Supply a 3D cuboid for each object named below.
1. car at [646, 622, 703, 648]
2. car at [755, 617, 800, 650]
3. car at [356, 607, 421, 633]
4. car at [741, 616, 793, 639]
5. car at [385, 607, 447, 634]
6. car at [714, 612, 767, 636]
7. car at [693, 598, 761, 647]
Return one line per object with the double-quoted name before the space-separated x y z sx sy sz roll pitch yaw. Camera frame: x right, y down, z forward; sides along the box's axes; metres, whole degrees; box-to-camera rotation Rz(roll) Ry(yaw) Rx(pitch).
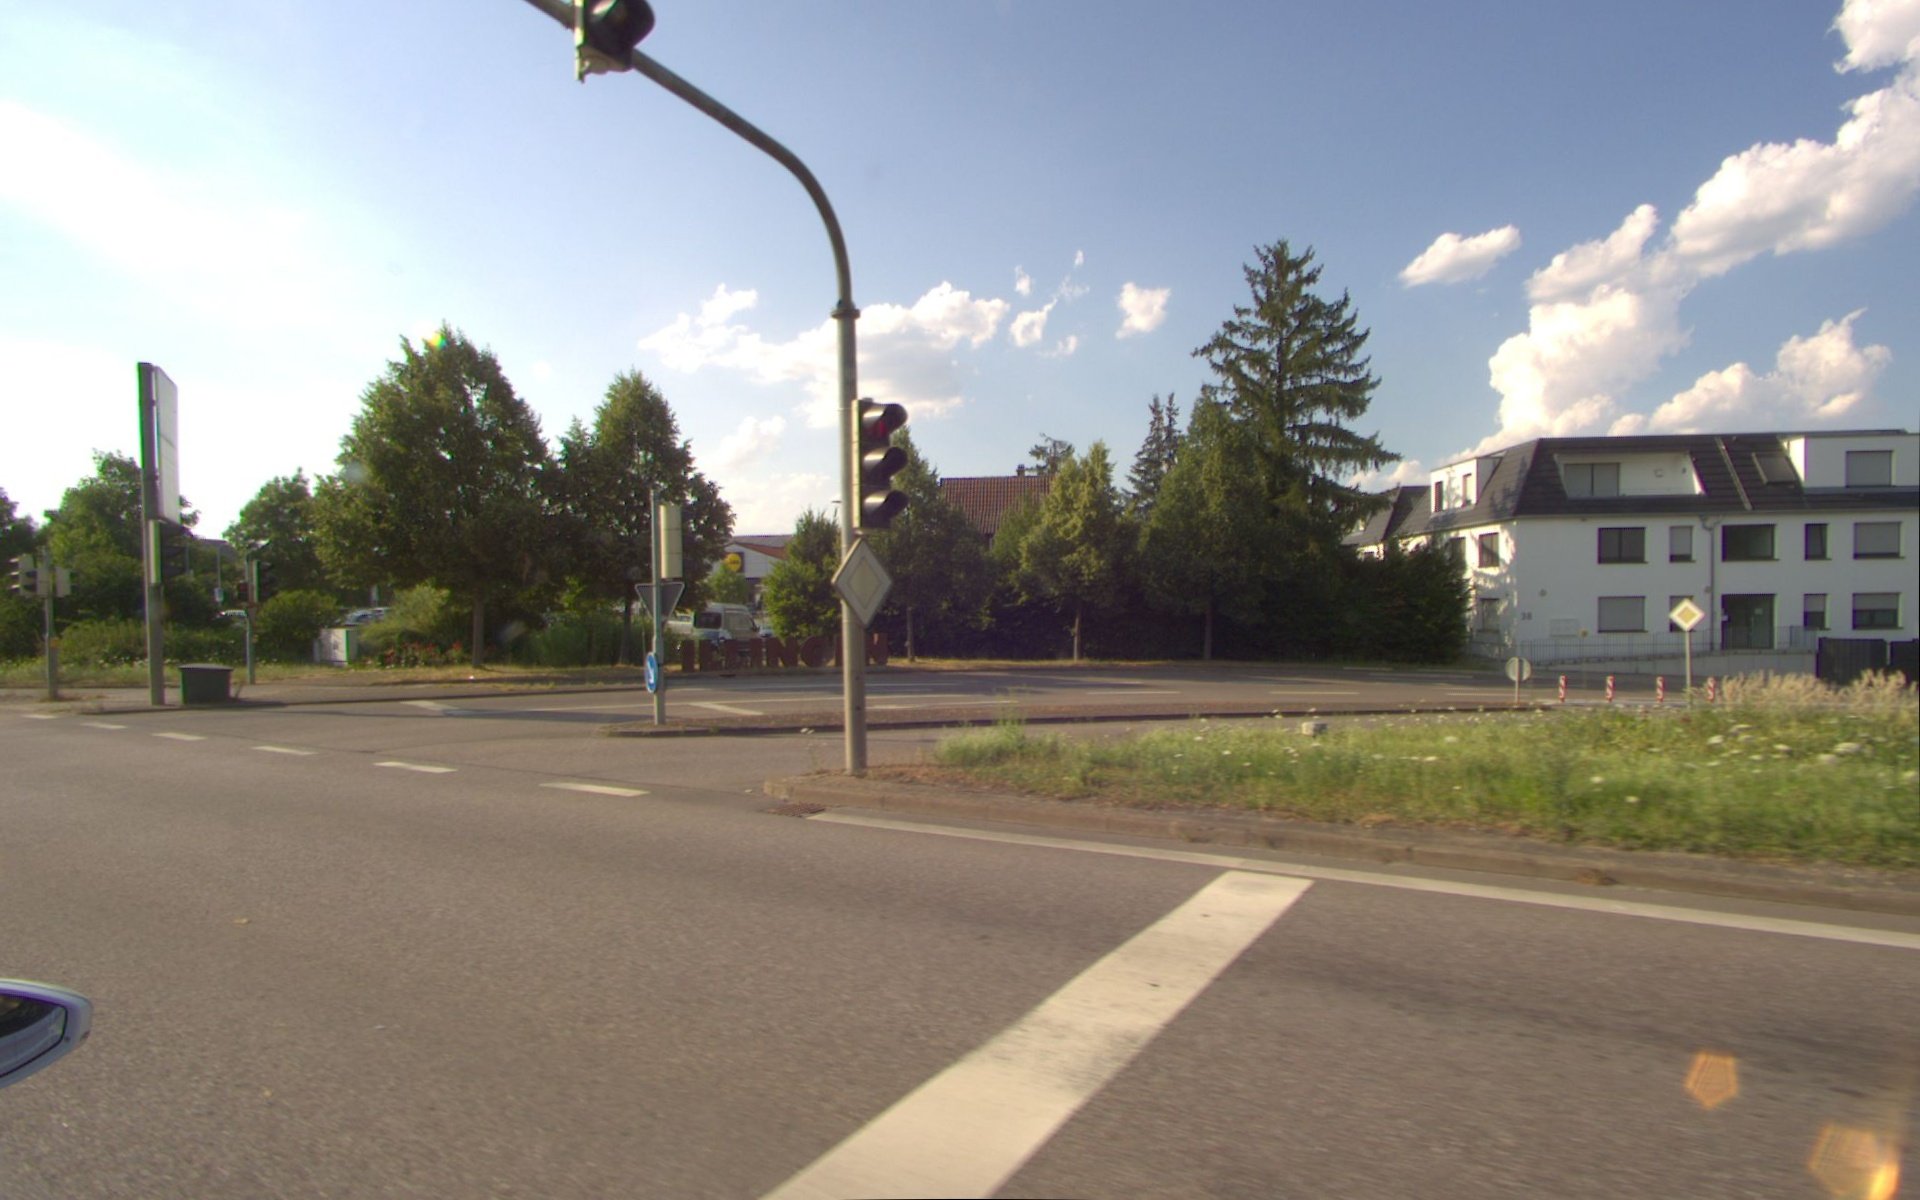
"car" -17.699 2.179 62.080 3.071 1.528 1.579 -1 -2 16
"car" -11.326 2.124 62.413 1.425 1.978 4.000 -1 -2 11
"car" -47.501 1.705 83.385 1.962 2.038 4.933 -1 -3 11
"car" -14.569 2.101 75.841 3.500 1.649 1.719 -1 -2 7
"car" -45.154 1.725 83.216 1.962 2.038 4.673 -1 -3 11
"car" -14.607 1.623 66.633 3.190 1.570 1.567 -1 -2 -2
"car" -12.781 1.304 55.266 1.962 2.538 5.141 -1 -2 8
